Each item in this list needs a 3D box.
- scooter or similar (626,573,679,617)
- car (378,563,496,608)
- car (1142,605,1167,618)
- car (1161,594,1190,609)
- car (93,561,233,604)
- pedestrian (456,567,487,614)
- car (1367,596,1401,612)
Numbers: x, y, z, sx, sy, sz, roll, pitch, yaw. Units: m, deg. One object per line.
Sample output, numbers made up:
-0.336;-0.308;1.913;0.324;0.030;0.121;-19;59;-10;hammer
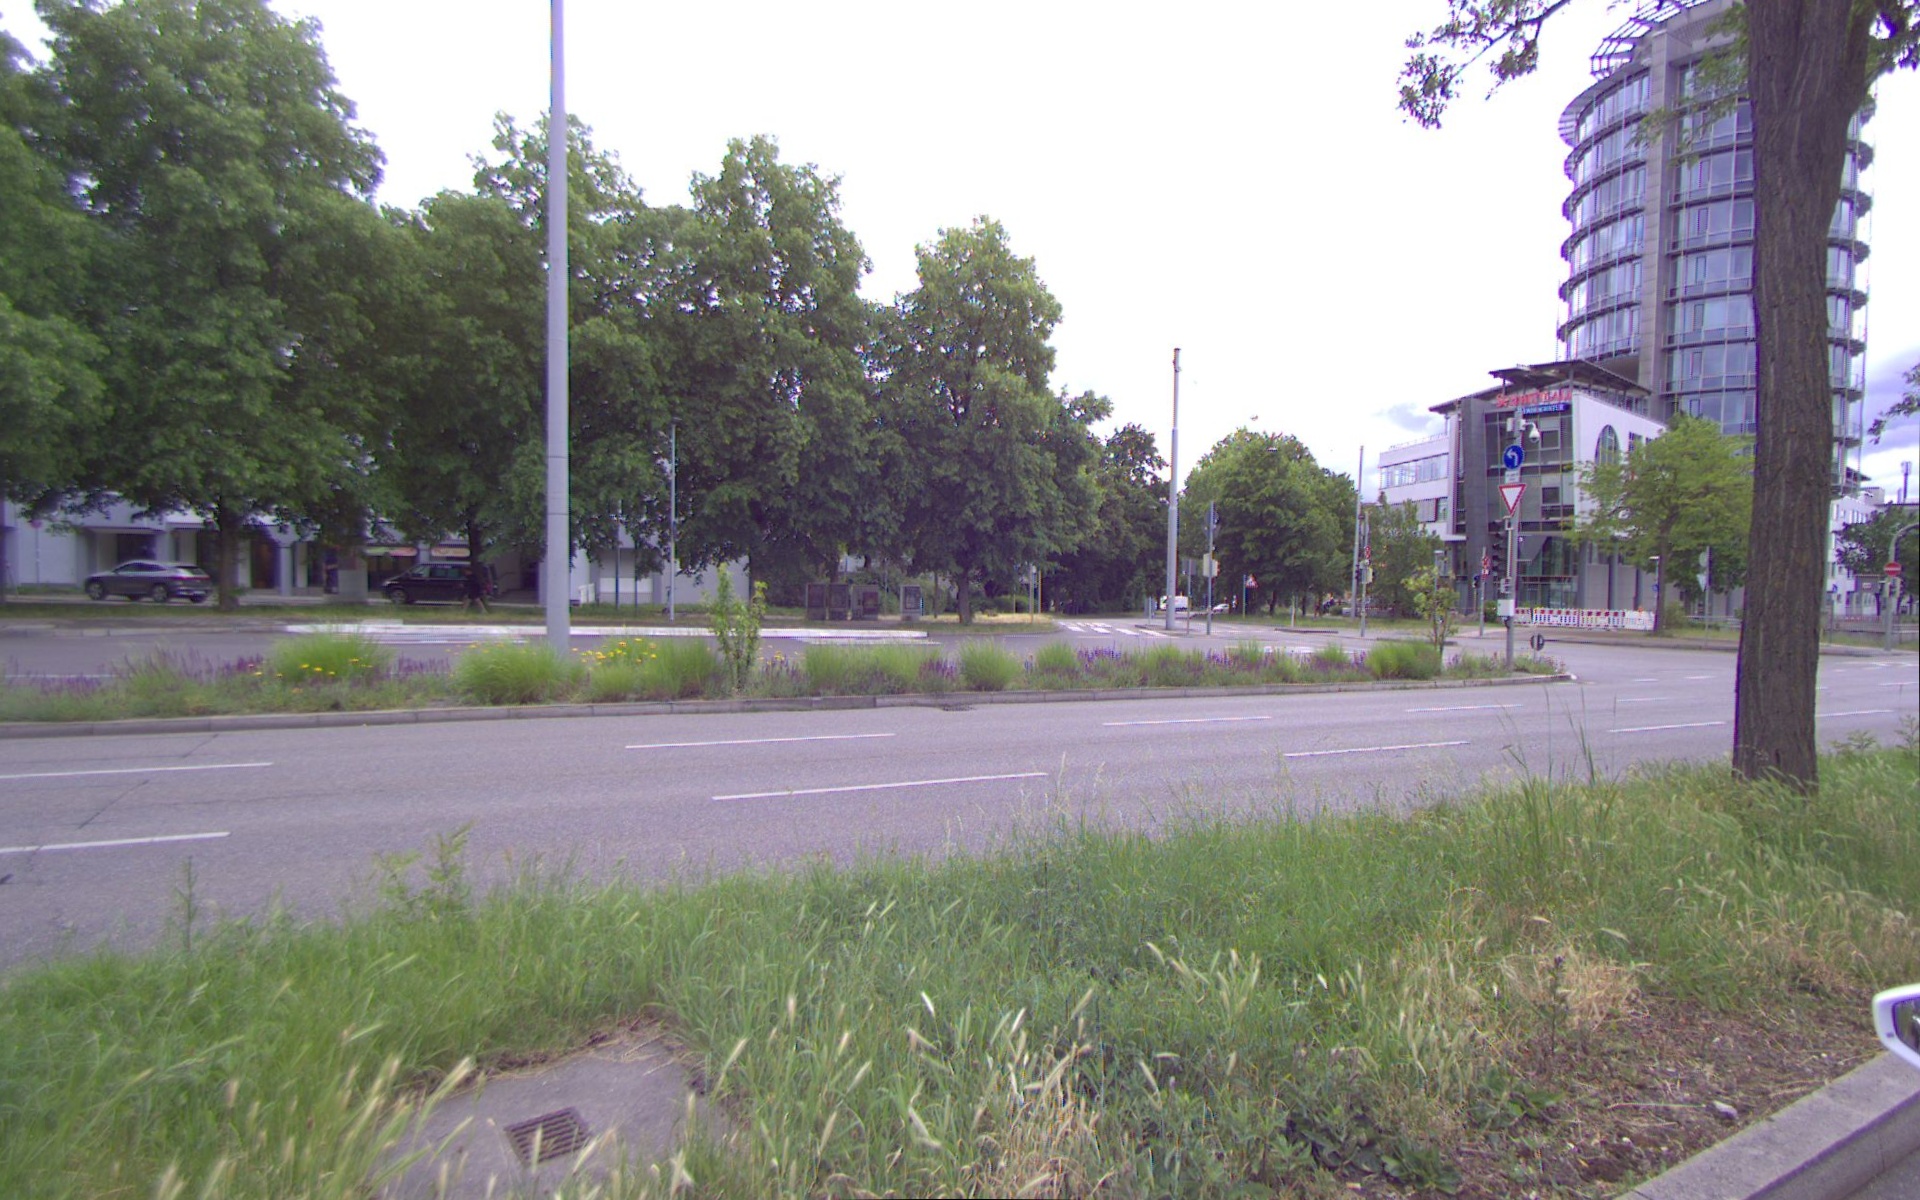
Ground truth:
-11.872;-0.187;38.854;1.835;1.686;0.645;1;1;-43;scooter or similar
-23.318;-0.641;44.952;4.345;1.872;1.781;1;1;-16;car
32.843;1.898;169.922;1.710;2.040;3.950;1;1;-42;car
37.733;0.258;175.674;4.475;2.370;1.994;2;0;-16;car
-30.967;-0.680;39.113;3.924;1.532;1.759;1;1;-4;car
-16.732;-0.331;34.420;0.894;1.578;0.766;1;1;-30;pedestrian
25.040;0.234;59.394;1.684;0.888;0.776;1;0;7;car
